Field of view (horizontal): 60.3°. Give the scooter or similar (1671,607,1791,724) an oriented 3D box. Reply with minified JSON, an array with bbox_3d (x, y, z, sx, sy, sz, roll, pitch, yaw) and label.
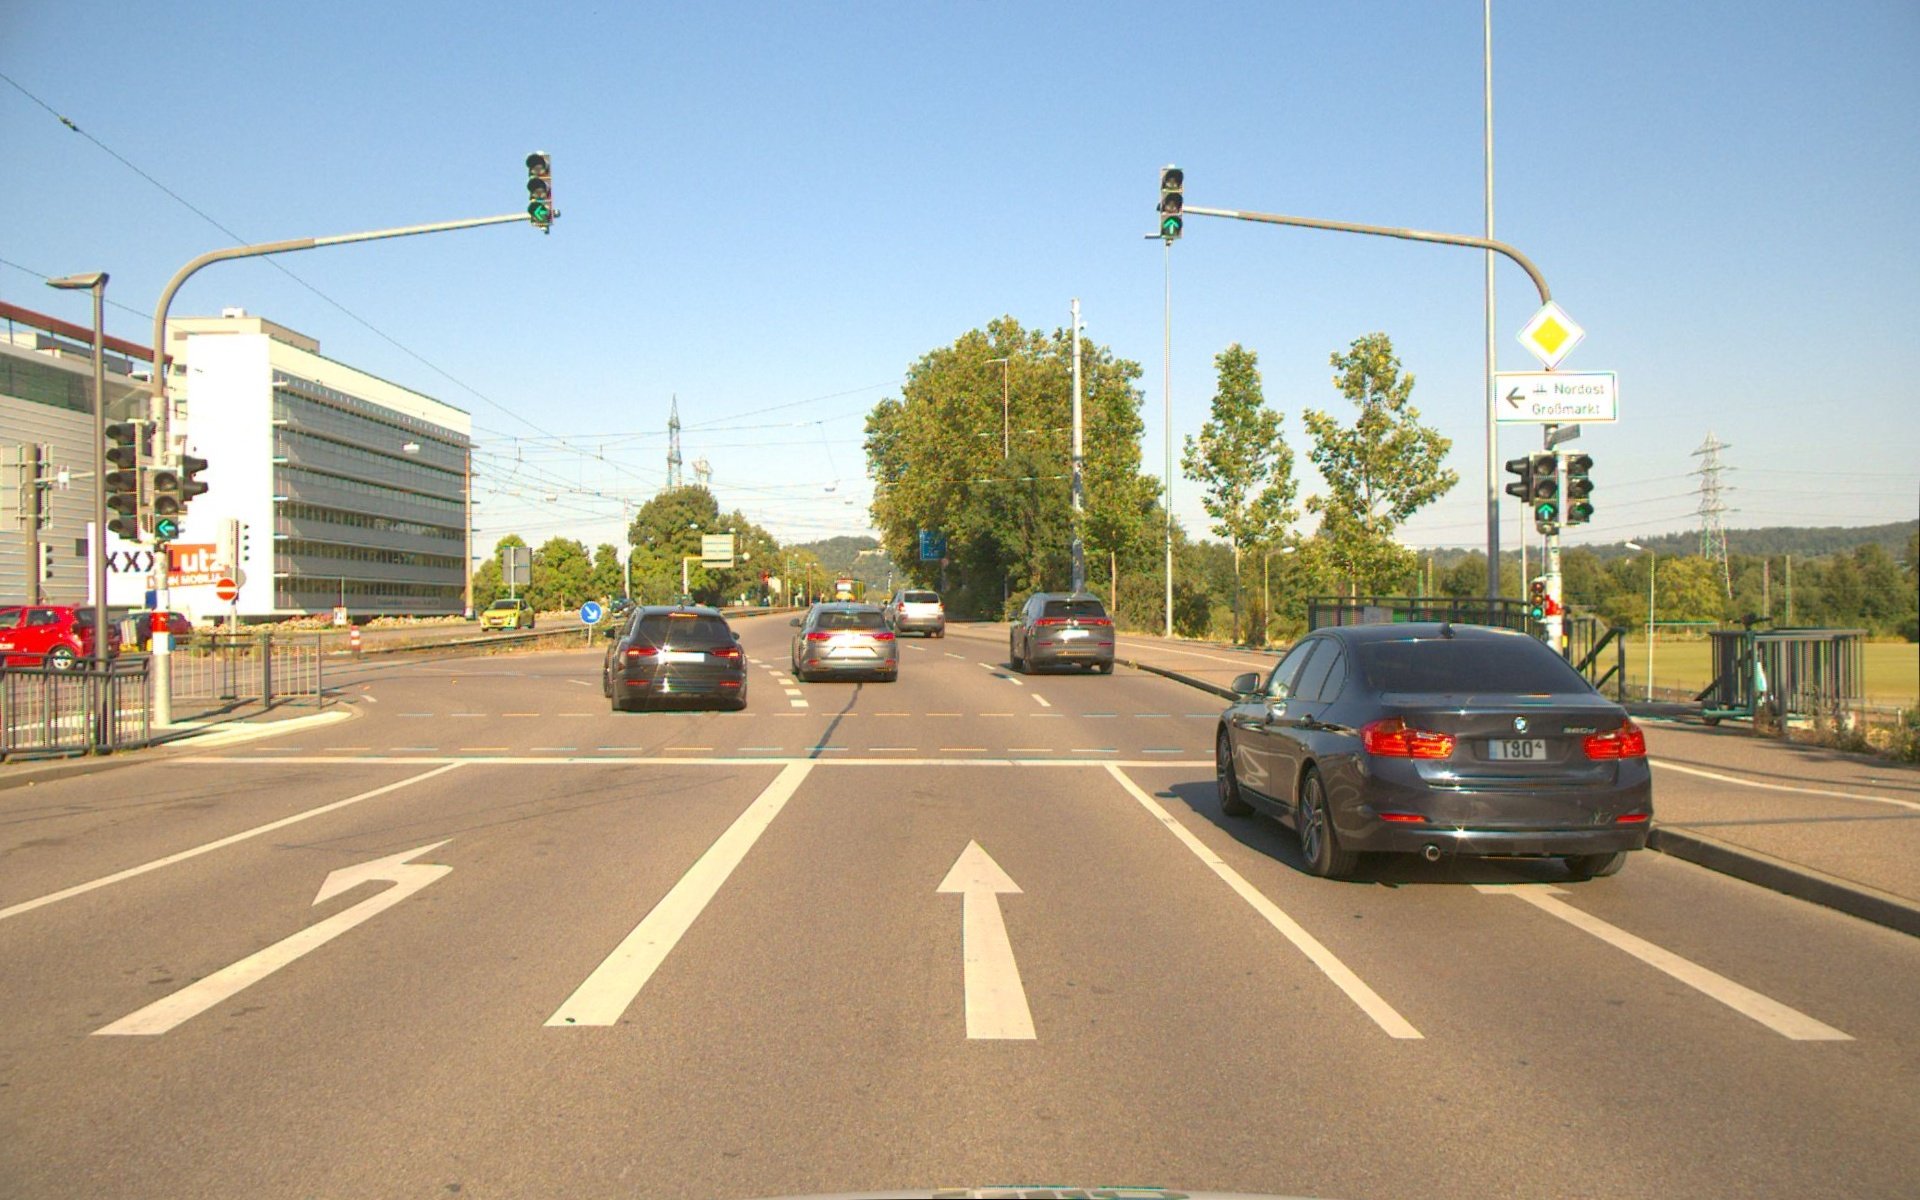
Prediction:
[{"bbox_3d":[8.593,0.709,18.482,0.515,1.252,1.262,-1,0,-14],"label":"scooter or similar"}]

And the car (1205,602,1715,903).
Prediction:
[{"bbox_3d":[2.870,0.770,10.647,1.828,1.493,4.585,0,0,-1],"label":"car"}]

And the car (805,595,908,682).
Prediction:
[{"bbox_3d":[-2.061,0.681,31.882,1.830,1.493,4.661,1,0,-5],"label":"car"}]

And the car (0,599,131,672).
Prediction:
[{"bbox_3d":[-20.776,0.829,37.007,3.503,1.485,1.770,-3,-1,-3],"label":"car"}]

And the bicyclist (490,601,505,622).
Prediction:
[{"bbox_3d":[-34.874,0.838,124.717,0.690,1.539,0.971,2,0,5],"label":"bicyclist"}]

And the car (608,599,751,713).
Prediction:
[{"bbox_3d":[-4.126,0.744,24.167,1.881,1.483,4.081,0,0,-11],"label":"car"}]

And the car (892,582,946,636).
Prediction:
[{"bbox_3d":[-1.507,0.290,60.091,1.845,1.827,3.998,2,0,-2],"label":"car"}]

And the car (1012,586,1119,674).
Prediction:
[{"bbox_3d":[2.142,0.579,34.728,1.807,1.690,4.438,1,1,-2],"label":"car"}]

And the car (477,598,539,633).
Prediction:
[{"bbox_3d":[-20.934,0.689,76.679,1.747,1.473,4.107,-2,1,-1],"label":"car"}]
